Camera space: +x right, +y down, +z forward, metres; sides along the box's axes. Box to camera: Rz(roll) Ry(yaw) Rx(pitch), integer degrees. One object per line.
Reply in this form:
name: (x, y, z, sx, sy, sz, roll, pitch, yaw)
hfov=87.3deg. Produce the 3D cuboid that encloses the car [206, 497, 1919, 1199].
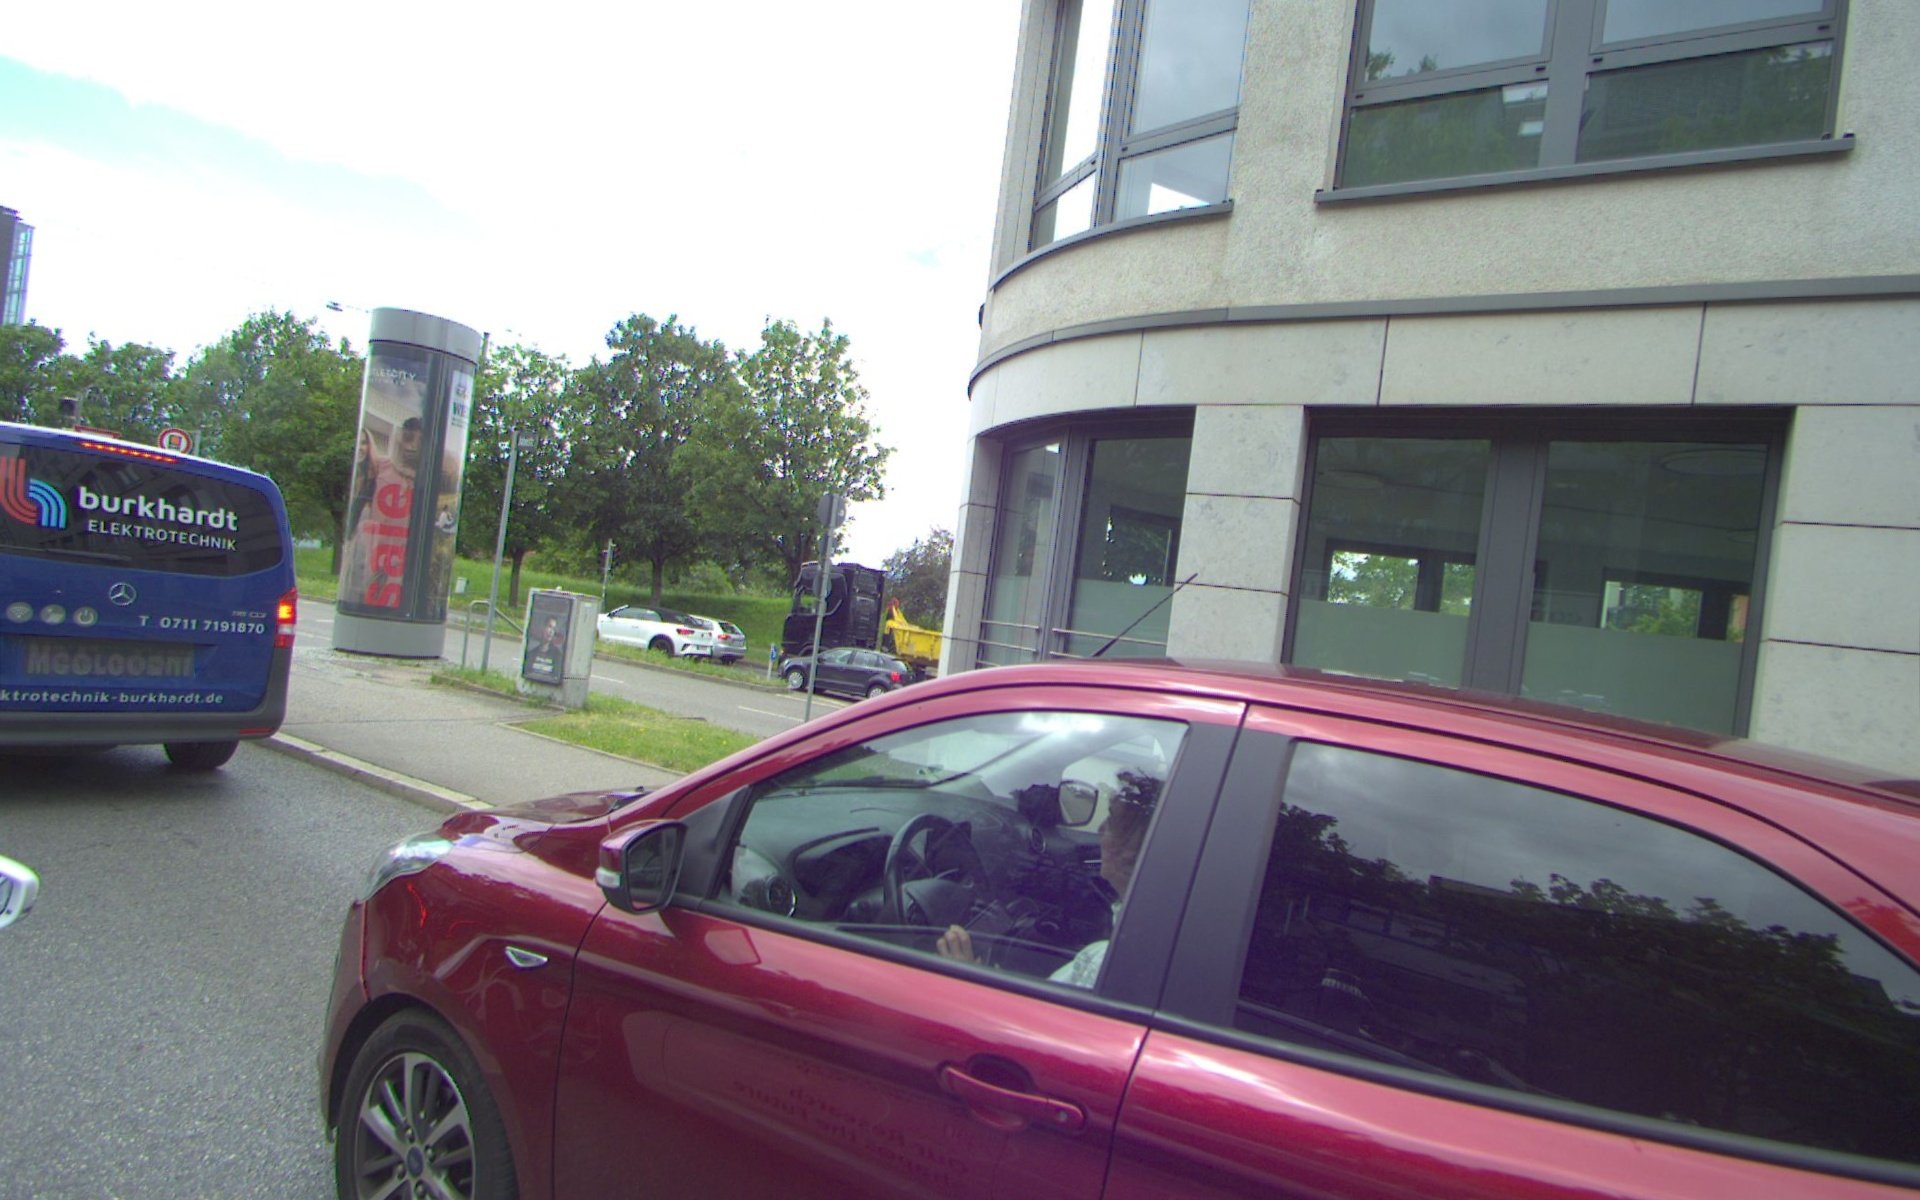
car: (0.449, 0.823, 2.186, 3.933, 1.509, 1.890, 7, -3, 32)

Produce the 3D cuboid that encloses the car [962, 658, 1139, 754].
car: (2.320, 2.659, 25.526, 3.925, 1.723, 2.003, 8, -3, 19)

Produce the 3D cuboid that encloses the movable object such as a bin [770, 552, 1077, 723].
movable object such as a bin: (-1.095, 1.082, 30.377, 8.410, 3.949, 2.870, 7, -1, 18)

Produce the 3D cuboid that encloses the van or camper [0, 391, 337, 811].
van or camper: (-6.277, -0.187, 6.329, 4.949, 1.934, 1.862, 7, -1, 32)

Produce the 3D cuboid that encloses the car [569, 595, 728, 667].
car: (-9.195, 0.926, 29.787, 3.925, 1.469, 2.003, 8, -3, 19)

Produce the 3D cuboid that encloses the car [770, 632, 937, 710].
car: (-2.897, 1.942, 27.547, 3.925, 1.469, 2.003, 8, -3, 19)

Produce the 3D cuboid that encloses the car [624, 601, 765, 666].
car: (-8.803, 1.114, 33.416, 3.925, 1.469, 2.003, 8, -3, 19)
